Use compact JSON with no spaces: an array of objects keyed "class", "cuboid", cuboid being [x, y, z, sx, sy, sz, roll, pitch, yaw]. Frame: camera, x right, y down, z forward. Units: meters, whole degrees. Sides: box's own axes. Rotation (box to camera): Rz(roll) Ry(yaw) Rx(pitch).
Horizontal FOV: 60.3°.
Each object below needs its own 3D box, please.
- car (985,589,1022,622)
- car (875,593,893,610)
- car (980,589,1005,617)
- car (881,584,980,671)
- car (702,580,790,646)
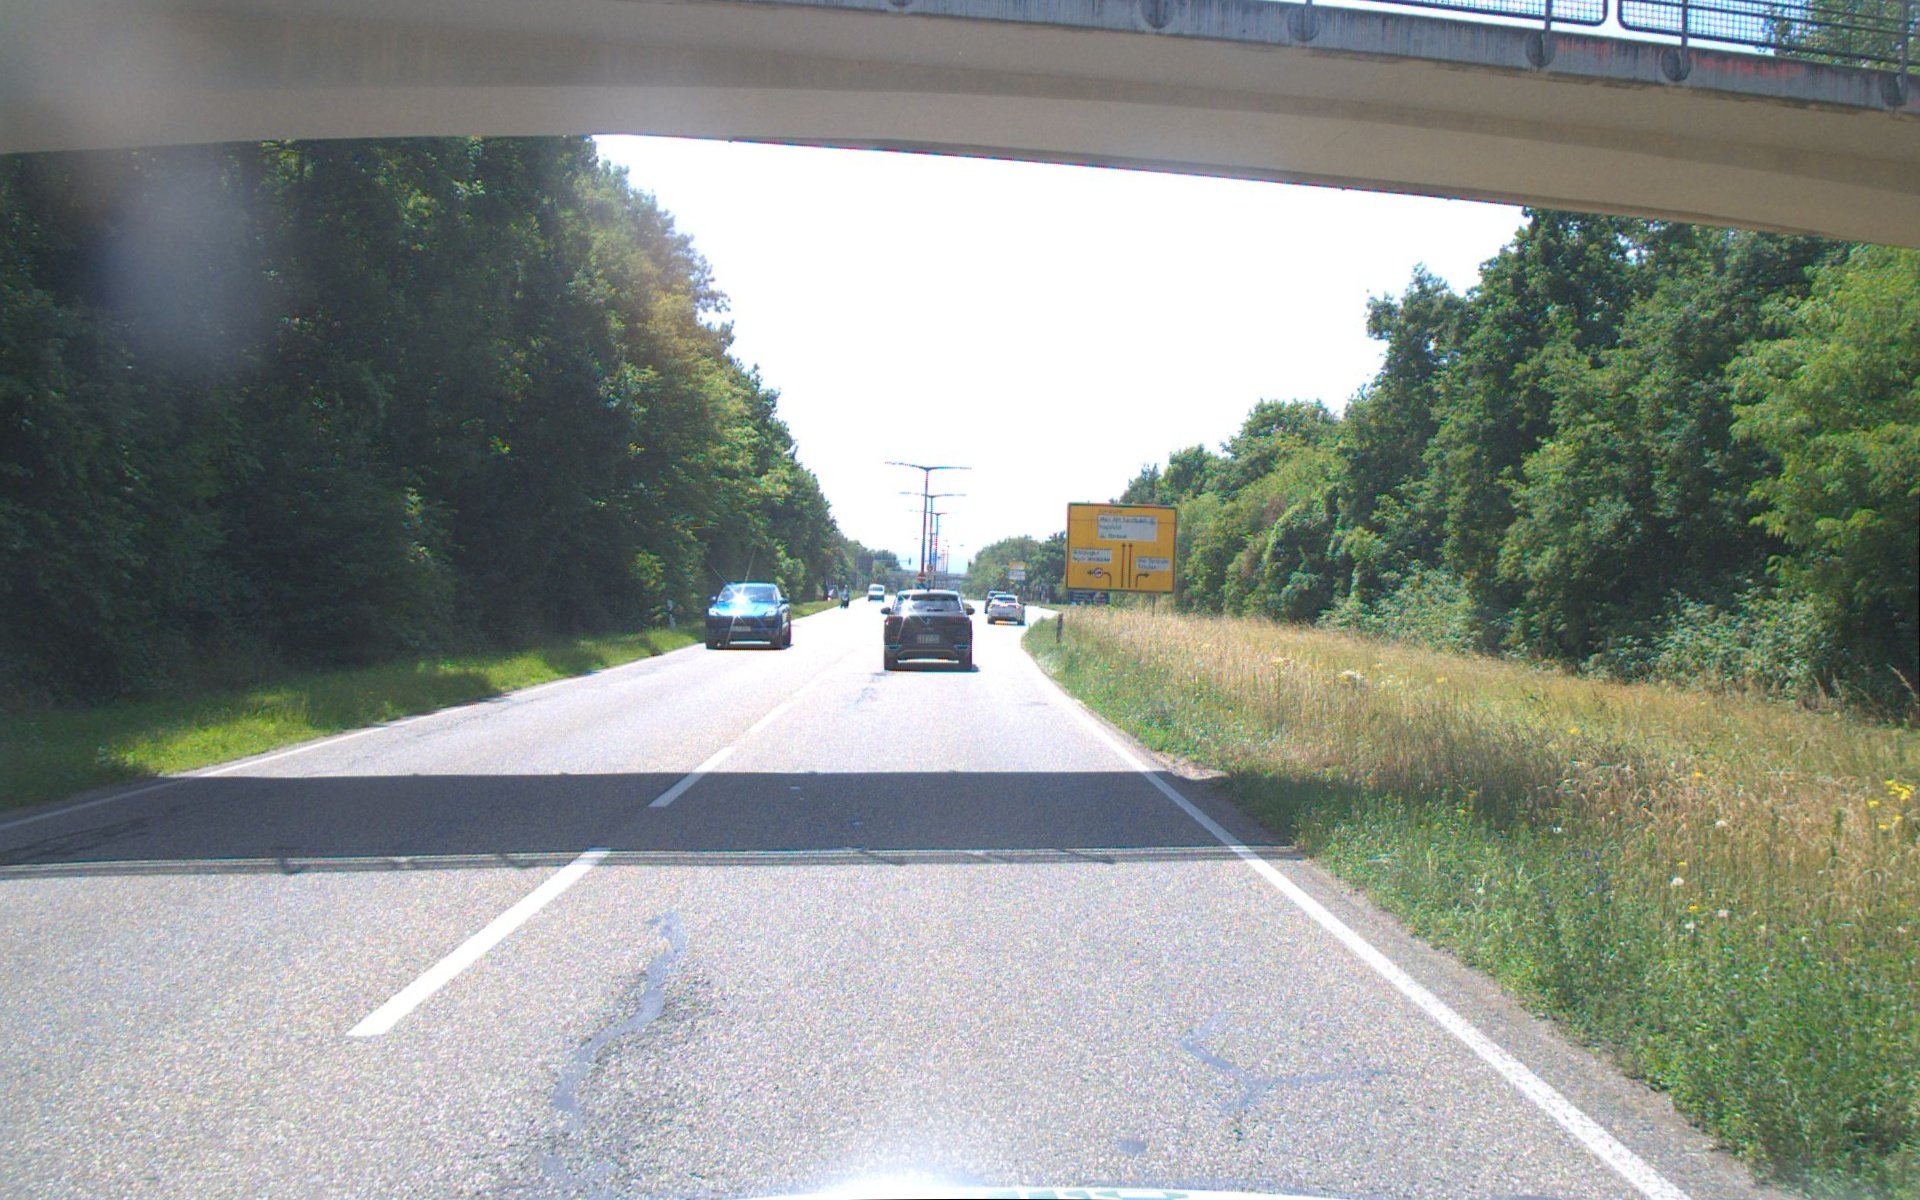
[{"class":"car","cuboid":[2.169,0.274,83.128,1.760,1.611,4.000,1,0,0]},{"class":"car","cuboid":[-7.834,0.098,170.429,1.697,1.717,4.094,0,0,-2]},{"class":"car","cuboid":[2.484,0.231,126.630,1.720,1.962,3.999,3,0,-1]},{"class":"car","cuboid":[-0.649,0.518,33.413,1.721,1.583,3.996,2,0,-4]},{"class":"car","cuboid":[-5.453,0.308,42.603,1.786,1.618,4.418,0,0,-1]}]
